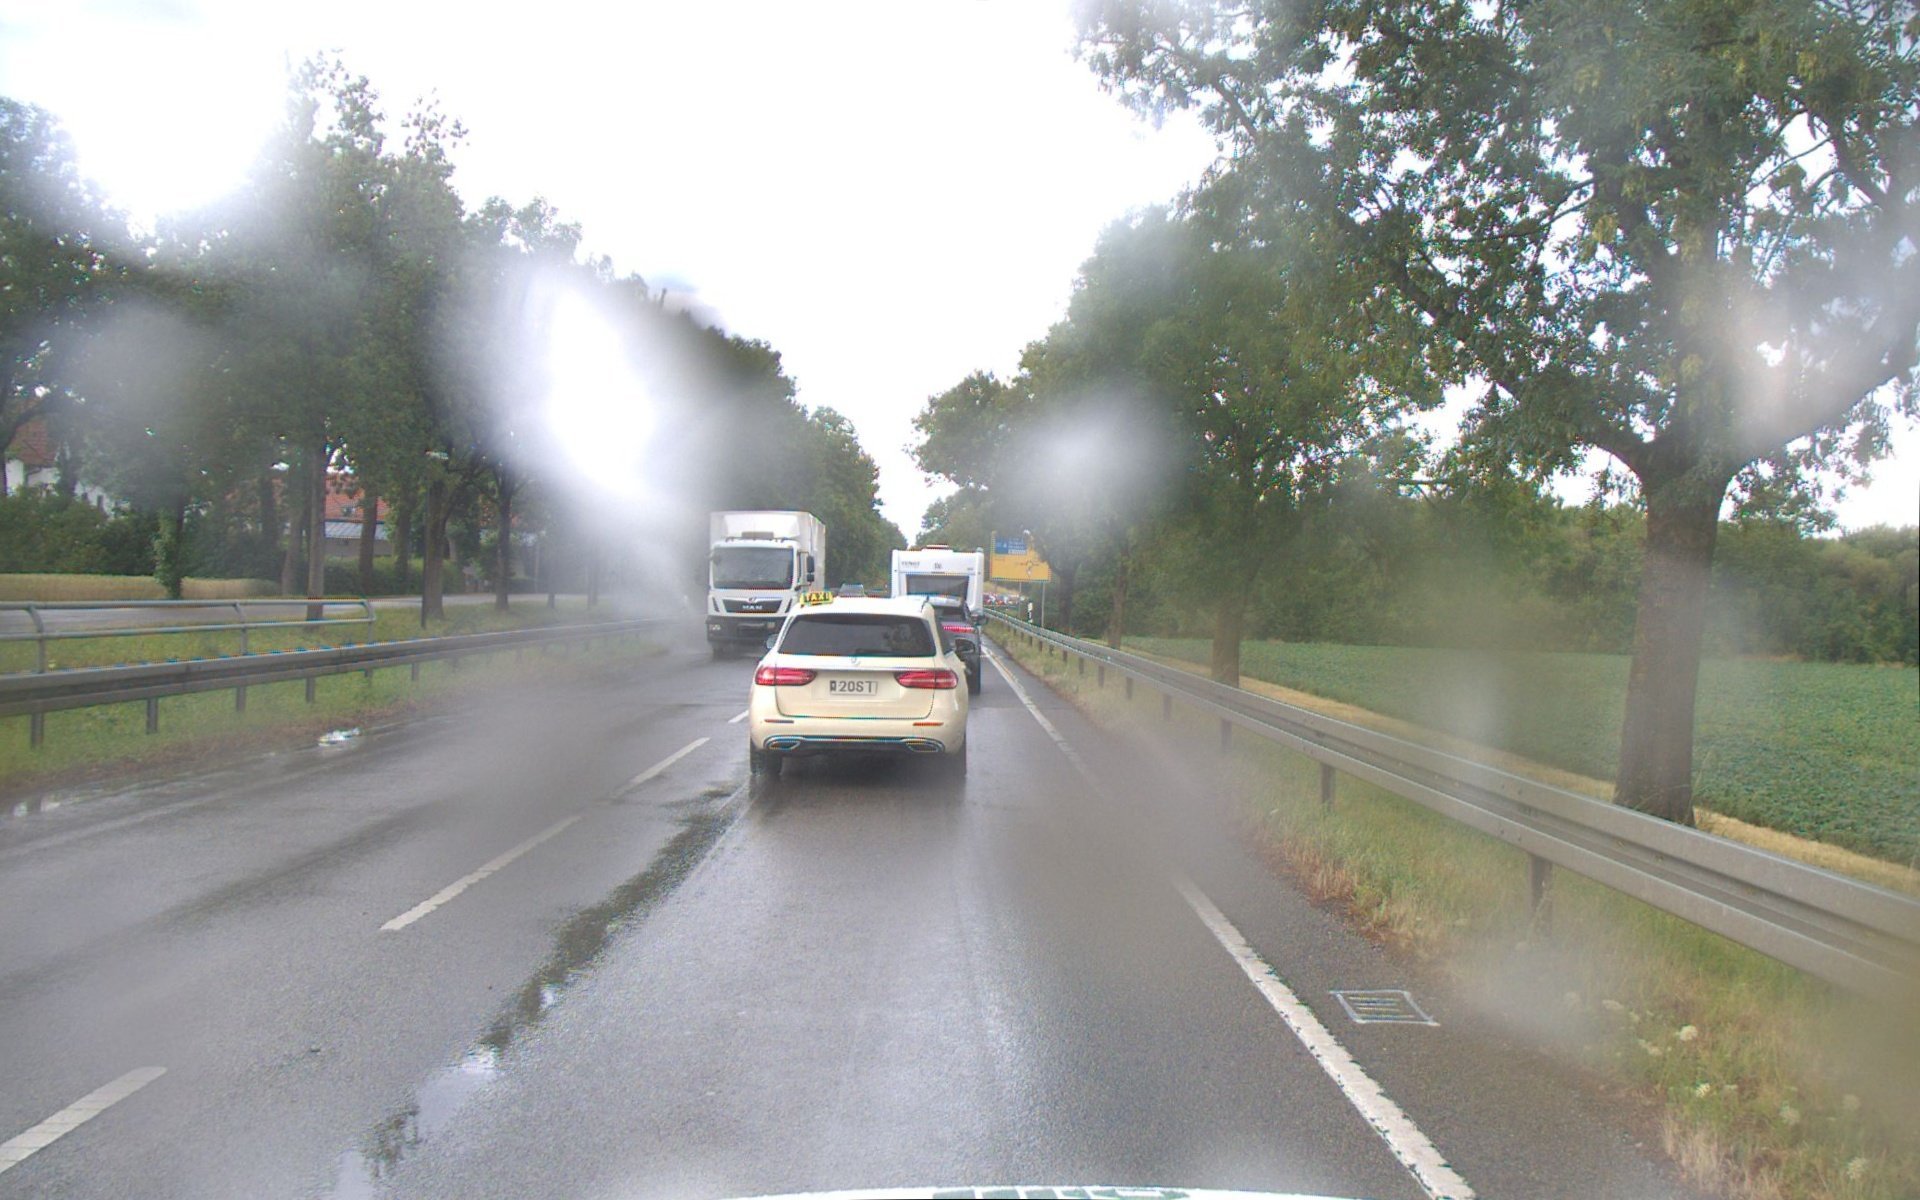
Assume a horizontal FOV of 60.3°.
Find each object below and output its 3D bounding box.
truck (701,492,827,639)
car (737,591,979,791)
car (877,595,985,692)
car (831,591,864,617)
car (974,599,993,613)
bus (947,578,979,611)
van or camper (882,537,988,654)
[{"bbox_3d":[-5.075,-0.853,44.397,2.524,3.512,9.552,0,0,-2],"label":"truck"},{"bbox_3d":[-0.764,0.684,14.596,1.826,1.502,4.000,1,0,0],"label":"car"},{"bbox_3d":[-0.432,0.650,27.146,1.630,1.456,4.000,1,0,0],"label":"car"},{"bbox_3d":[-6.477,0.208,95.494,1.679,1.476,4.110,1,0,-1],"label":"car"},{"bbox_3d":[1.962,0.471,138.575,1.520,1.138,4.000,1,0,0],"label":"car"},{"bbox_3d":[0.179,-0.354,104.937,1.953,2.049,3.999,0,0,-1],"label":"bus"},{"bbox_3d":[-0.571,-0.122,42.085,2.438,2.732,5.700,1,0,0],"label":"van or camper"}]
